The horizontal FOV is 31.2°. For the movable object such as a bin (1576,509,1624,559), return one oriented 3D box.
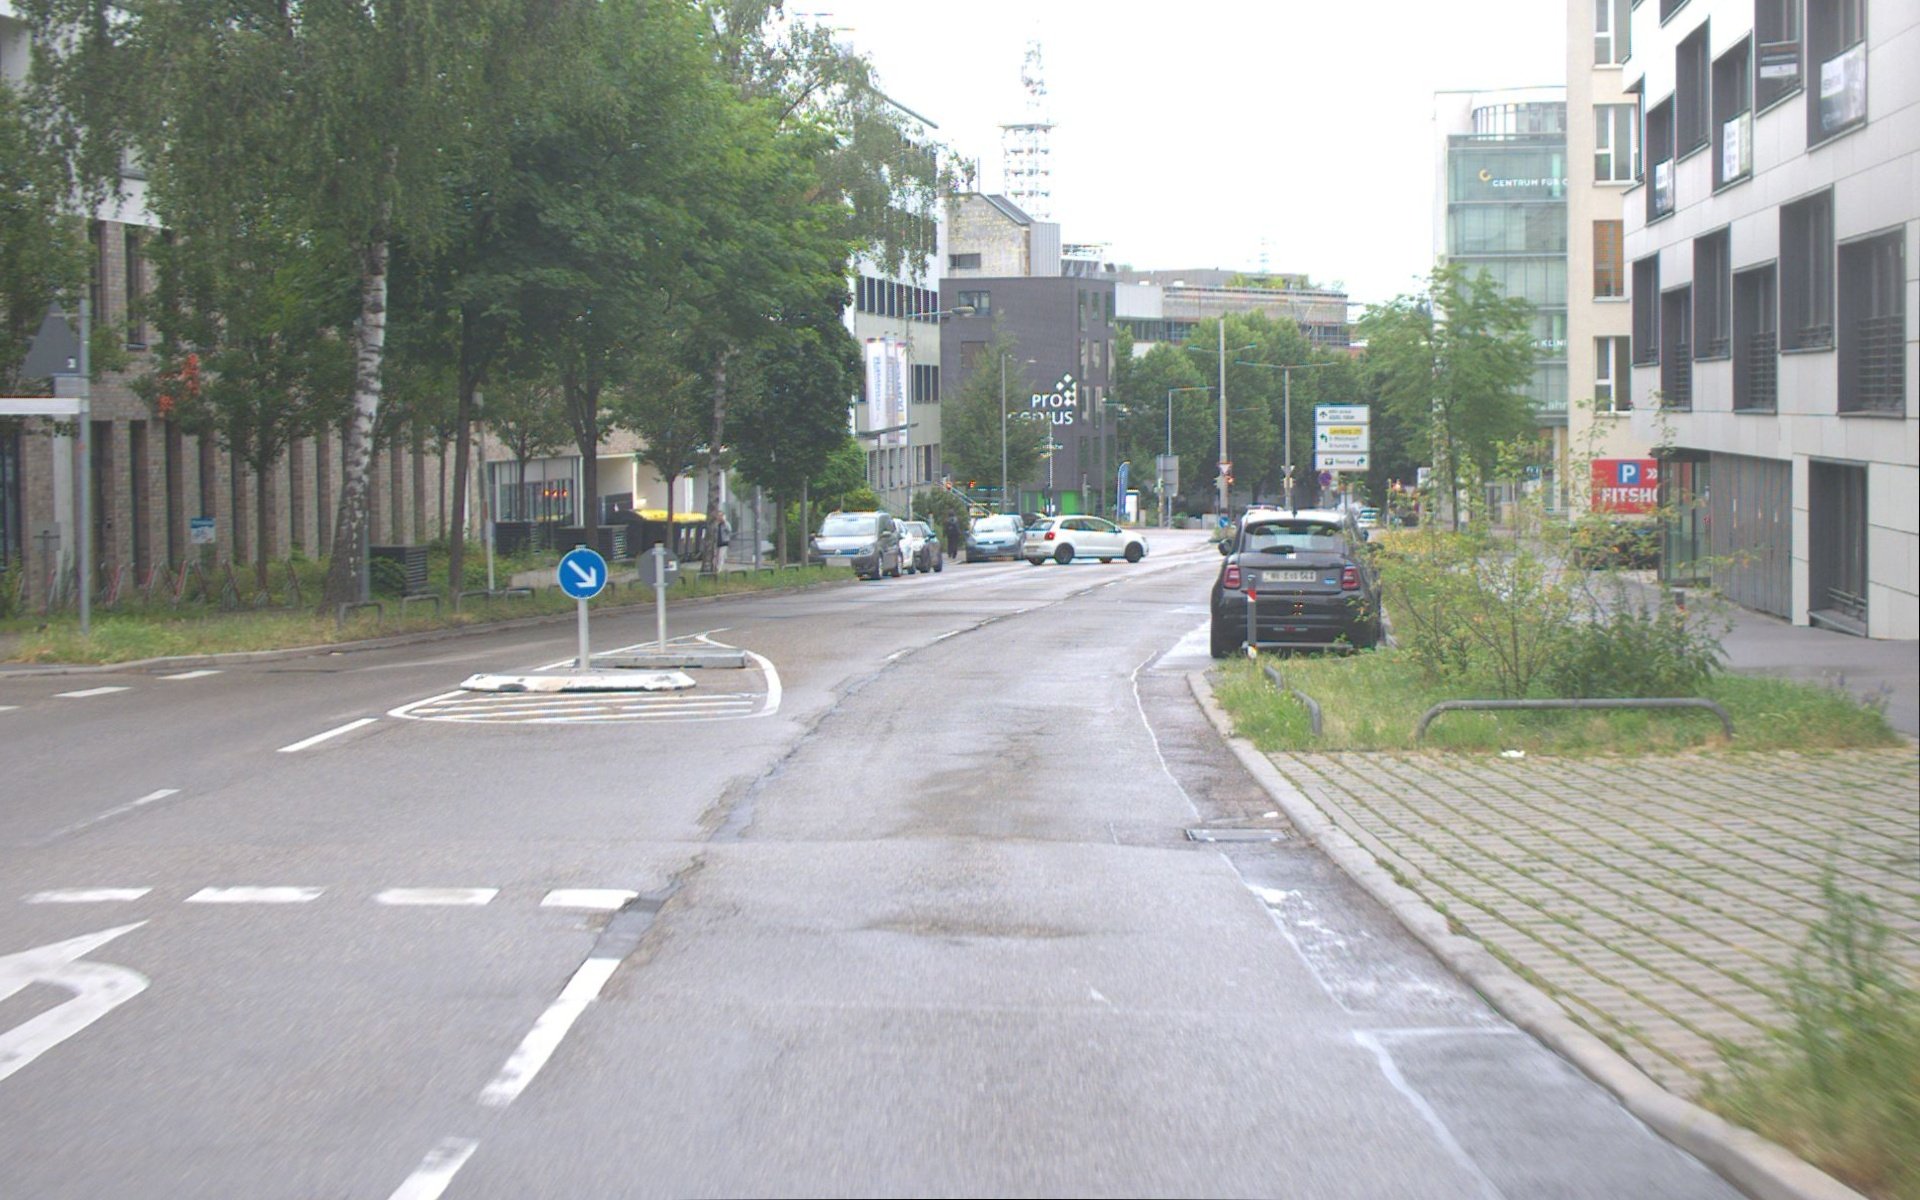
[{"bbox_3d":[17.260,-1.777,92.743,1.235,1.315,1.191,-1,1,9],"label":"movable object such as a bin"}]

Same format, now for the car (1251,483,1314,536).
[{"bbox_3d":[10.904,-3.057,116.099,1.994,1.744,3.672,0,2,7],"label":"car"}]

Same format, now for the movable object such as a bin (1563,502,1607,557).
[{"bbox_3d":[17.223,-1.935,94.718,1.174,1.498,1.013,0,1,10],"label":"movable object such as a bin"}]

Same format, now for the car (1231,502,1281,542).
[{"bbox_3d":[13.205,-3.479,153.607,2.142,1.722,4.000,0,1,4],"label":"car"}]

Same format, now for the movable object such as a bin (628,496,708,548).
[{"bbox_3d":[-8.204,-2.195,96.770,2.054,1.418,1.317,1,1,4],"label":"movable object such as a bin"}]

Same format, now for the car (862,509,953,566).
[{"bbox_3d":[-1.404,-1.688,93.835,1.797,1.511,4.244,0,1,8],"label":"car"}]

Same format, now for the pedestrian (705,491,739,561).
[{"bbox_3d":[-5.748,-1.789,83.201,0.708,1.677,0.956,0,2,3],"label":"pedestrian"}]

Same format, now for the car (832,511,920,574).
[{"bbox_3d":[-2.154,-1.509,89.168,1.773,1.595,4.031,0,2,6],"label":"car"}]

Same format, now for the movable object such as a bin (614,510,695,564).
[{"bbox_3d":[-8.480,-1.749,95.463,2.027,1.425,1.290,2,1,4],"label":"movable object such as a bin"}]

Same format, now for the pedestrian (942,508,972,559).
[{"bbox_3d":[-0.114,-2.249,116.557,0.728,1.702,0.904,-1,0,-20],"label":"pedestrian"}]

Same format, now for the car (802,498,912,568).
[{"bbox_3d":[-2.482,-1.667,83.912,2.078,1.603,4.685,-1,2,6],"label":"car"}]

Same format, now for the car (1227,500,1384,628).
[{"bbox_3d":[4.262,-0.449,42.130,1.808,1.479,4.494,0,1,7],"label":"car"}]

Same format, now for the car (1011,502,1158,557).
[{"bbox_3d":[3.724,-2.120,102.658,3.983,1.571,2.000,-1,2,-34],"label":"car"}]

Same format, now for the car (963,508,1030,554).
[{"bbox_3d":[1.216,-2.270,113.251,1.914,1.476,4.356,0,1,4],"label":"car"}]

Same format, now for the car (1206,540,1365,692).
[{"bbox_3d":[3.537,0.129,36.898,1.546,1.473,3.659,0,2,8],"label":"car"}]

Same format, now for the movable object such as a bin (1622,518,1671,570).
[{"bbox_3d":[18.658,-1.538,93.471,1.261,1.398,1.112,0,1,9],"label":"movable object such as a bin"}]
